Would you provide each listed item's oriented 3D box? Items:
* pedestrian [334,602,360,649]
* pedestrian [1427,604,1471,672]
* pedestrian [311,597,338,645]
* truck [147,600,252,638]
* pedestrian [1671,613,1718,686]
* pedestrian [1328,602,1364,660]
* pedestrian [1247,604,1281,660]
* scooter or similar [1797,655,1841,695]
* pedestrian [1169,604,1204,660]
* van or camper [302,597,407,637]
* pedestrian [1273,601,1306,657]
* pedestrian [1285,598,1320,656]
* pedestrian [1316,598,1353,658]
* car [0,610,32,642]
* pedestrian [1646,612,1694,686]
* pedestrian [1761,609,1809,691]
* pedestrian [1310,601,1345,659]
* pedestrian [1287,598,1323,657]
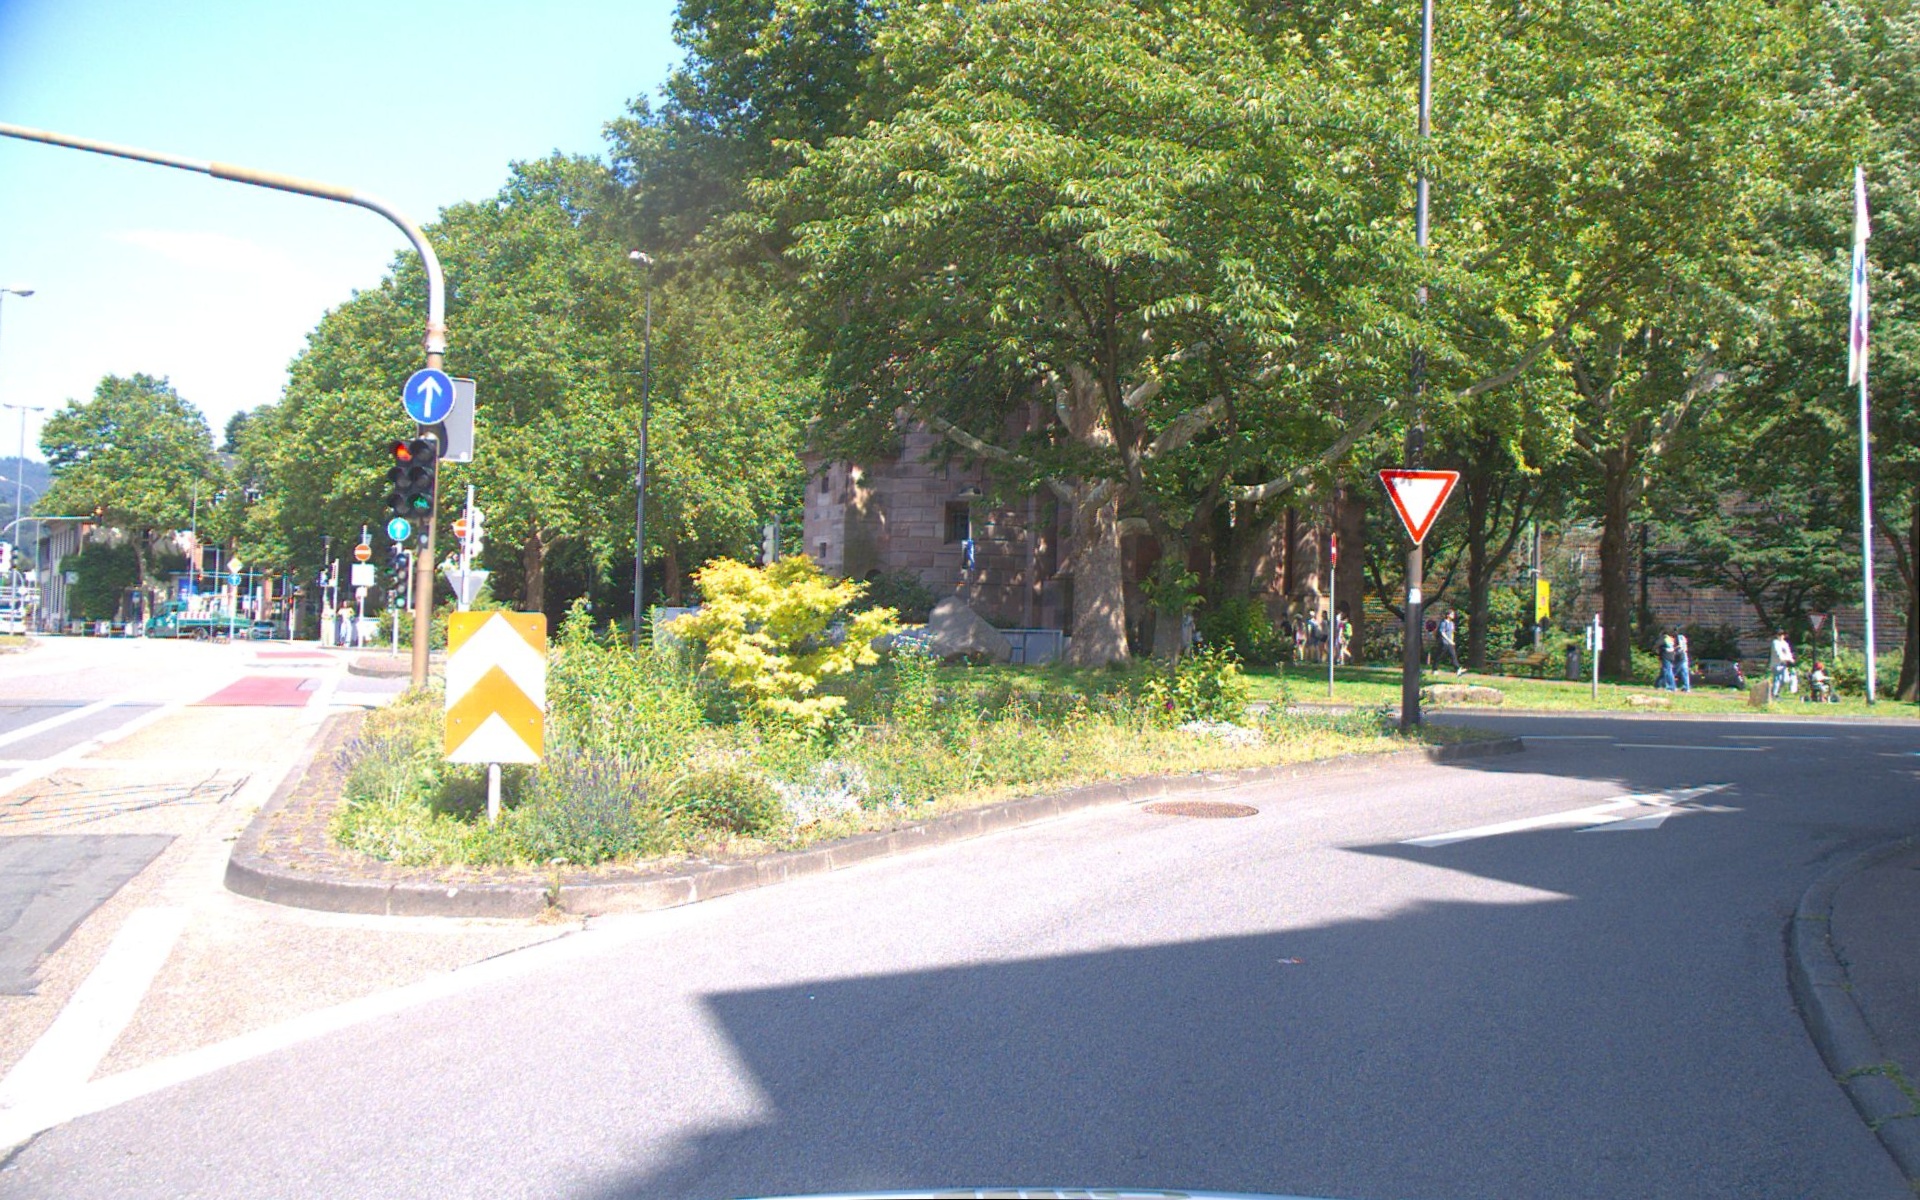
[{"bbox_3d":[-22.981,0.955,61.990,0.748,1.738,0.876,1,0,-10],"label":"pedestrian"},{"bbox_3d":[13.246,1.013,44.814,0.782,1.786,0.717,4,-2,-23],"label":"pedestrian"},{"bbox_3d":[-23.760,0.781,61.847,0.748,1.749,0.793,1,0,-10],"label":"pedestrian"},{"bbox_3d":[-44.258,1.111,96.261,6.129,2.049,2.162,1,0,27],"label":"truck"},{"bbox_3d":[18.390,1.240,41.407,0.782,1.786,0.661,4,-2,-23],"label":"pedestrian"},{"bbox_3d":[12.152,0.975,52.089,0.782,1.786,0.661,4,-2,-23],"label":"pedestrian"},{"bbox_3d":[9.954,1.055,54.213,0.782,1.786,0.661,4,-2,-23],"label":"pedestrian"},{"bbox_3d":[18.759,1.632,36.119,0.720,0.826,0.566,0,-1,44],"label":"scooter or similar"},{"bbox_3d":[7.418,1.056,54.178,0.782,1.813,0.870,1,0,-23],"label":"pedestrian"},{"bbox_3d":[-30.338,0.858,82.945,4.448,1.935,2.000,1,0,0],"label":"van or camper"},{"bbox_3d":[10.880,0.961,54.644,0.782,1.786,0.661,4,-2,-23],"label":"pedestrian"},{"bbox_3d":[10.886,0.863,52.514,0.782,1.786,0.661,4,-2,-23],"label":"pedestrian"},{"bbox_3d":[11.549,0.858,51.014,0.782,1.786,0.661,4,-2,-23],"label":"pedestrian"},{"bbox_3d":[-65.133,1.733,111.929,3.903,2.049,1.944,1,0,18],"label":"car"},{"bbox_3d":[17.628,1.208,41.078,0.782,1.786,0.661,4,-1,-23],"label":"pedestrian"},{"bbox_3d":[18.288,1.107,36.671,0.749,1.786,0.759,0,-1,44],"label":"pedestrian"},{"bbox_3d":[11.763,0.960,52.896,0.782,1.786,0.661,4,-2,-23],"label":"pedestrian"},{"bbox_3d":[10.658,0.840,51.048,0.782,1.786,0.661,4,-2,-23],"label":"pedestrian"}]
